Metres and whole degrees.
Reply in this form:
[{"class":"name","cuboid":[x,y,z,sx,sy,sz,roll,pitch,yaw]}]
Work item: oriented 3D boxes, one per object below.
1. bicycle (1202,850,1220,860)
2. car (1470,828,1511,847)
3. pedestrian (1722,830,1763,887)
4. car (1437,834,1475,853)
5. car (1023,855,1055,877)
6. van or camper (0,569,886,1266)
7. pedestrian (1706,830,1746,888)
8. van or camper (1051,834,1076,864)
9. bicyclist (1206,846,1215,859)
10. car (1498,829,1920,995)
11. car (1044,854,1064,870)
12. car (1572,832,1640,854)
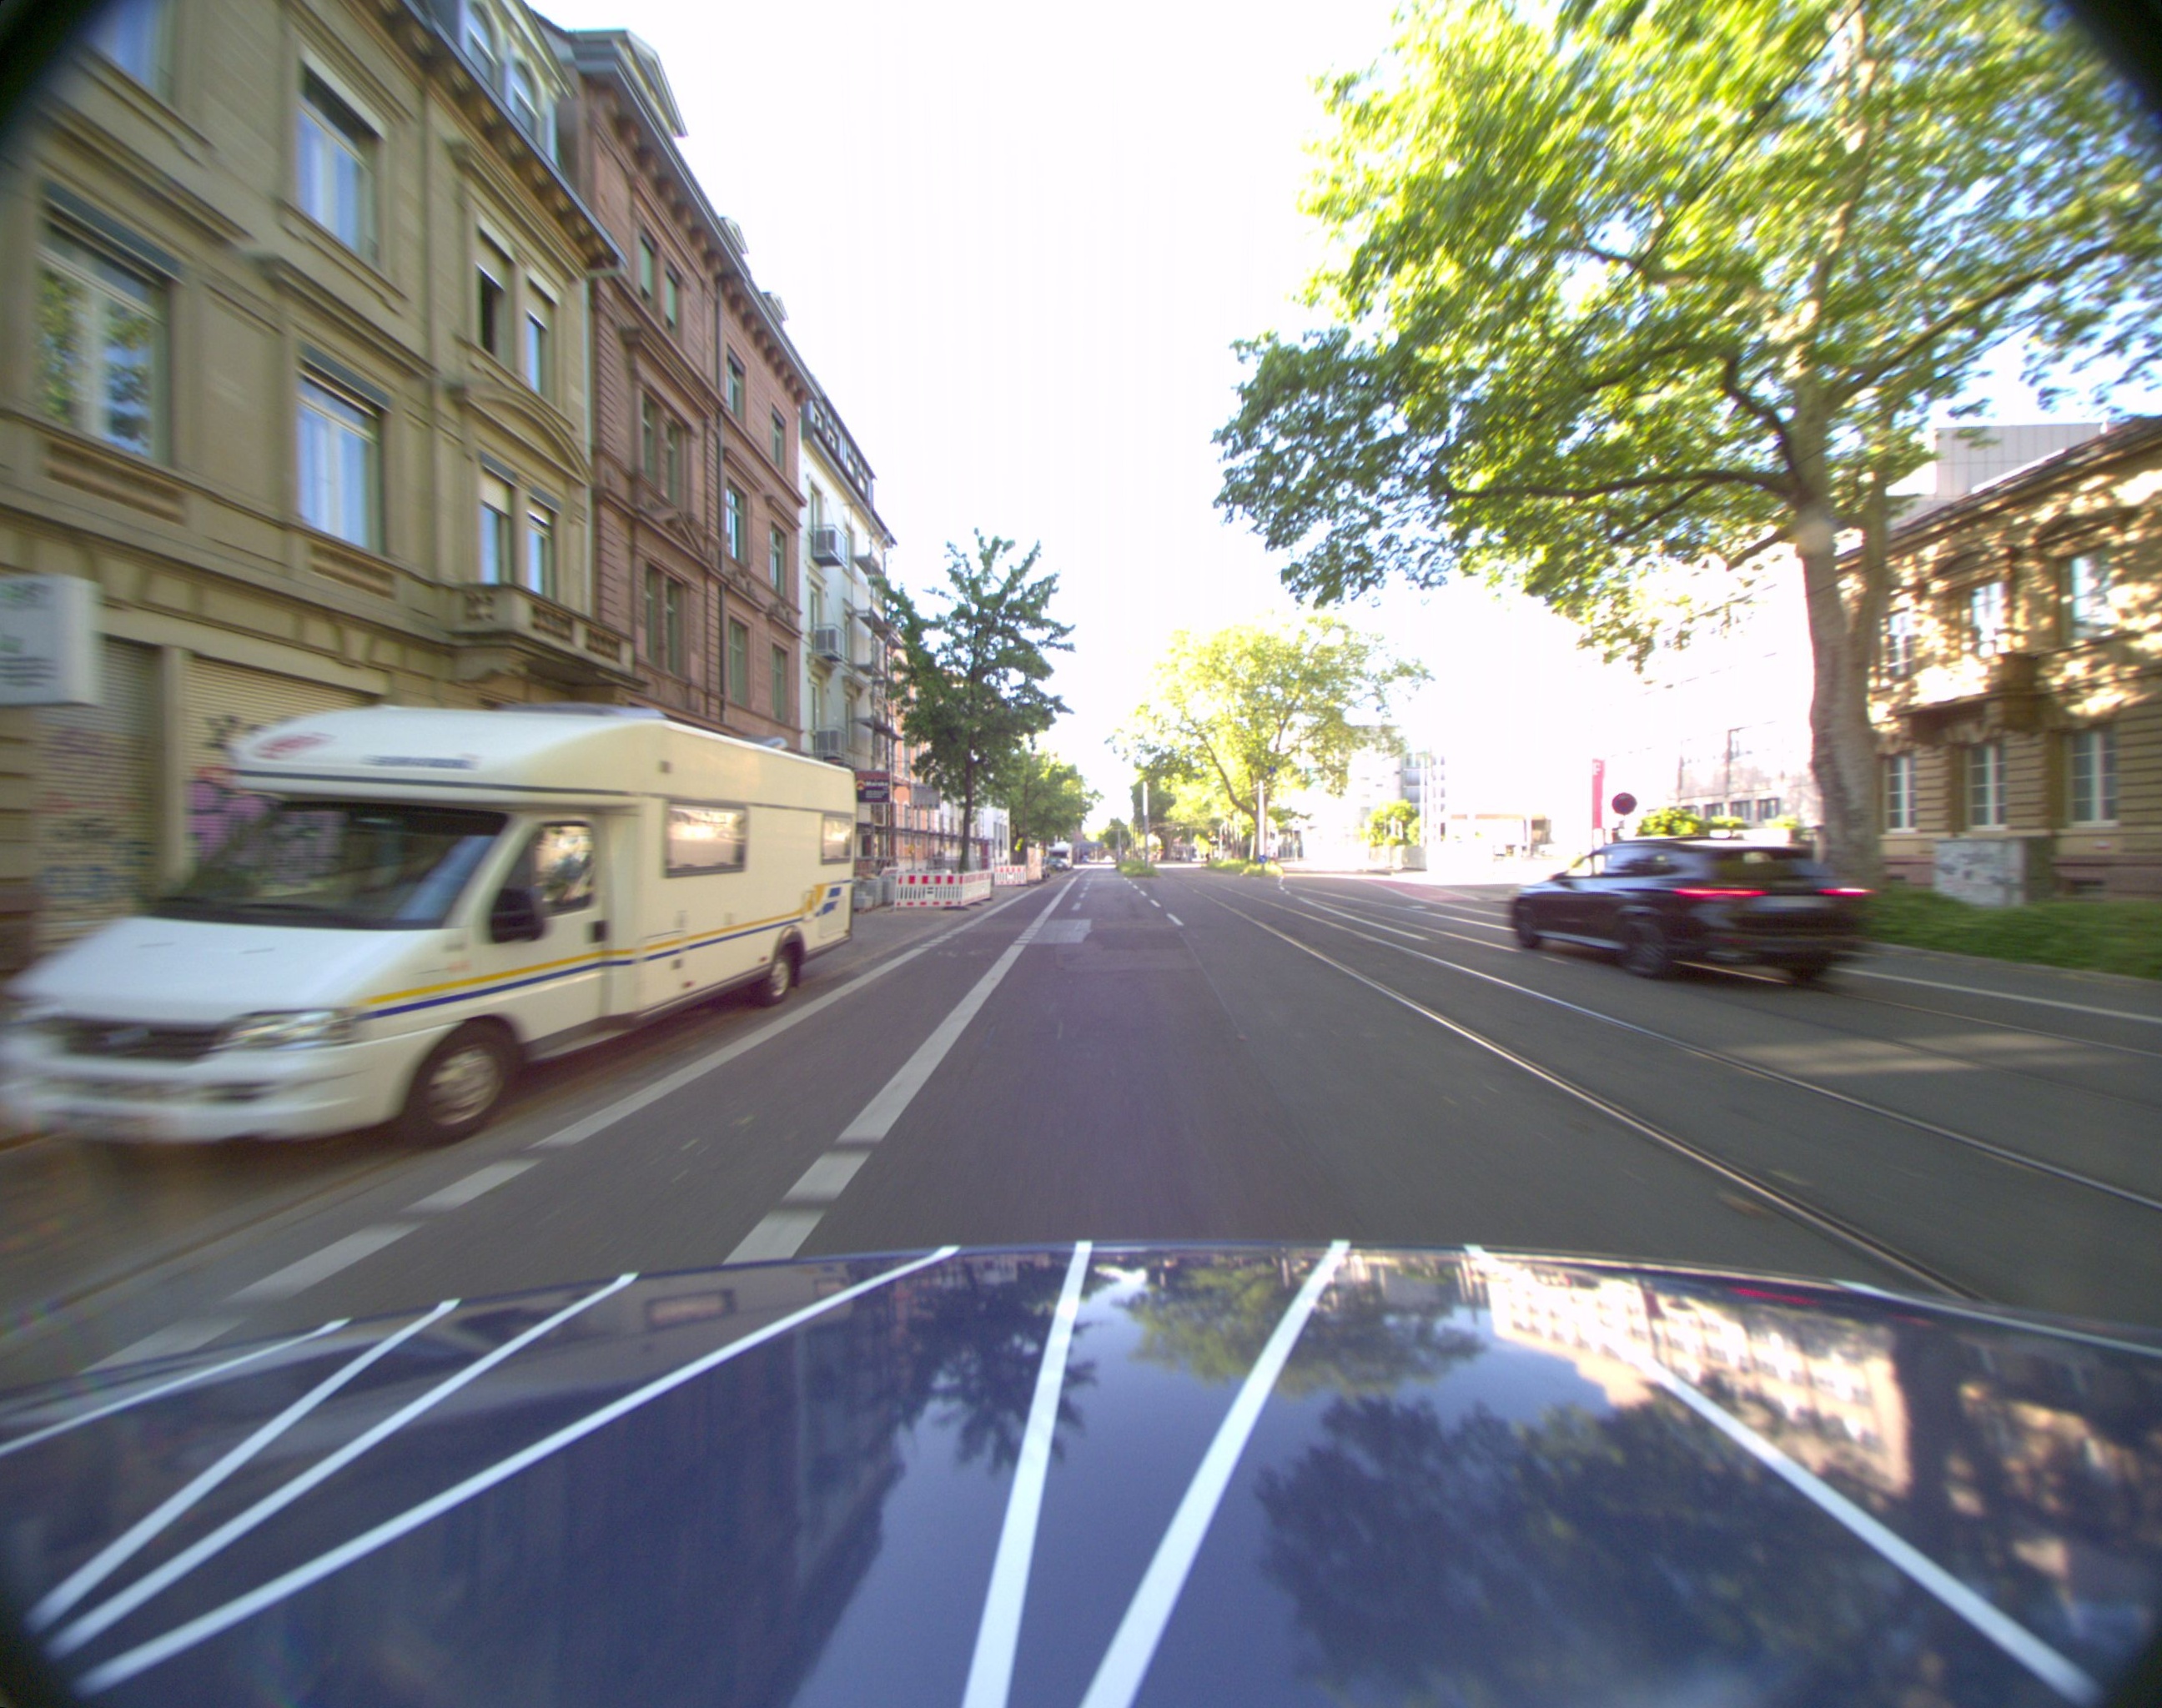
[{"class":"bicycle","cuboid":[15.990,0.140,93.358,2.083,1.122,0.760,-1,1,-2]},{"class":"car","cuboid":[39.243,-1.563,72.899,1.852,1.742,4.000,-1,1,3]},{"class":"pedestrian","cuboid":[20.090,0.142,23.070,0.673,1.687,0.661,-1,1,-5]},{"class":"car","cuboid":[36.482,-1.013,73.974,1.852,1.807,4.000,-1,1,3]},{"class":"car","cuboid":[-2.945,0.804,54.208,1.767,1.475,4.110,1,0,4]},{"class":"van or camper","cuboid":[-4.400,0.196,7.252,2.483,2.955,7.885,3,1,4]},{"class":"pedestrian","cuboid":[19.391,0.141,22.853,0.636,1.687,0.656,-1,1,-5]},{"class":"van or camper","cuboid":[-1.832,-0.554,81.337,2.172,3.075,7.290,0,0,2]},{"class":"bicyclist","cuboid":[15.889,-0.220,93.353,1.007,1.567,0.760,-1,1,-2]},{"class":"car","cuboid":[7.423,0.575,9.764,1.871,1.620,4.561,0,0,4]},{"class":"car","cuboid":[-2.469,0.736,70.883,1.656,1.439,3.801,0,0,1]},{"class":"car","cuboid":[43.412,-0.881,62.897,4.277,1.709,1.853,-1,1,2]}]
